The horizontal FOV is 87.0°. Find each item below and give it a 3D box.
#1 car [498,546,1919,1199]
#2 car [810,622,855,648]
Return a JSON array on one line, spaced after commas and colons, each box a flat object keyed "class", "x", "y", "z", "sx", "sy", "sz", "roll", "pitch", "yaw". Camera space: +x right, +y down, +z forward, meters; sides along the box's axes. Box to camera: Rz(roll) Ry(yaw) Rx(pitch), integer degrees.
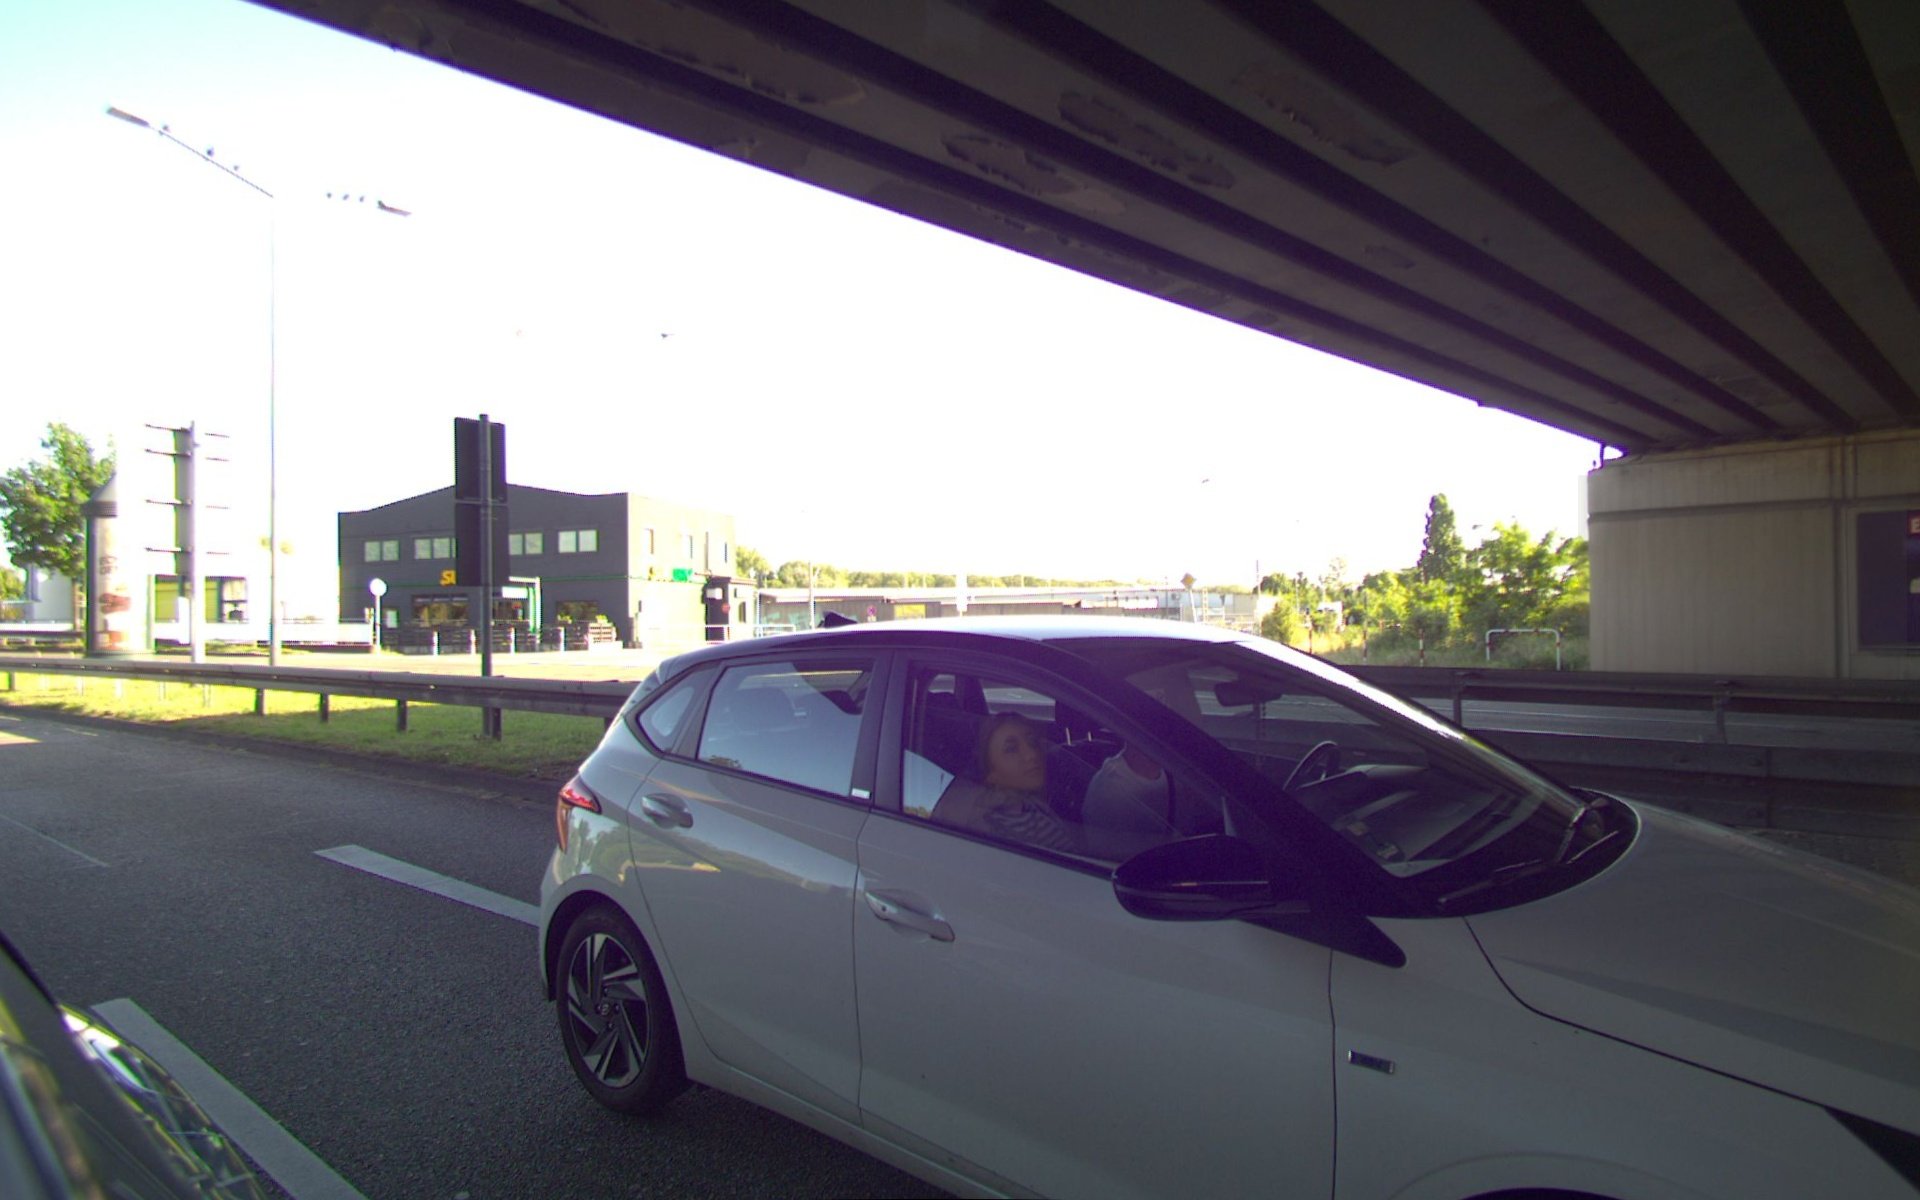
[{"class": "car", "x": 0.565, "y": 0.714, "z": 2.672, "sx": 3.987, "sy": 1.491, "sz": 1.716, "roll": -1, "pitch": -1, "yaw": 40}, {"class": "car", "x": -6.865, "y": 1.918, "z": 54.965, "sx": 1.806, "sy": 1.291, "sz": 4.180, "roll": 1, "pitch": -3, "yaw": 1}]
